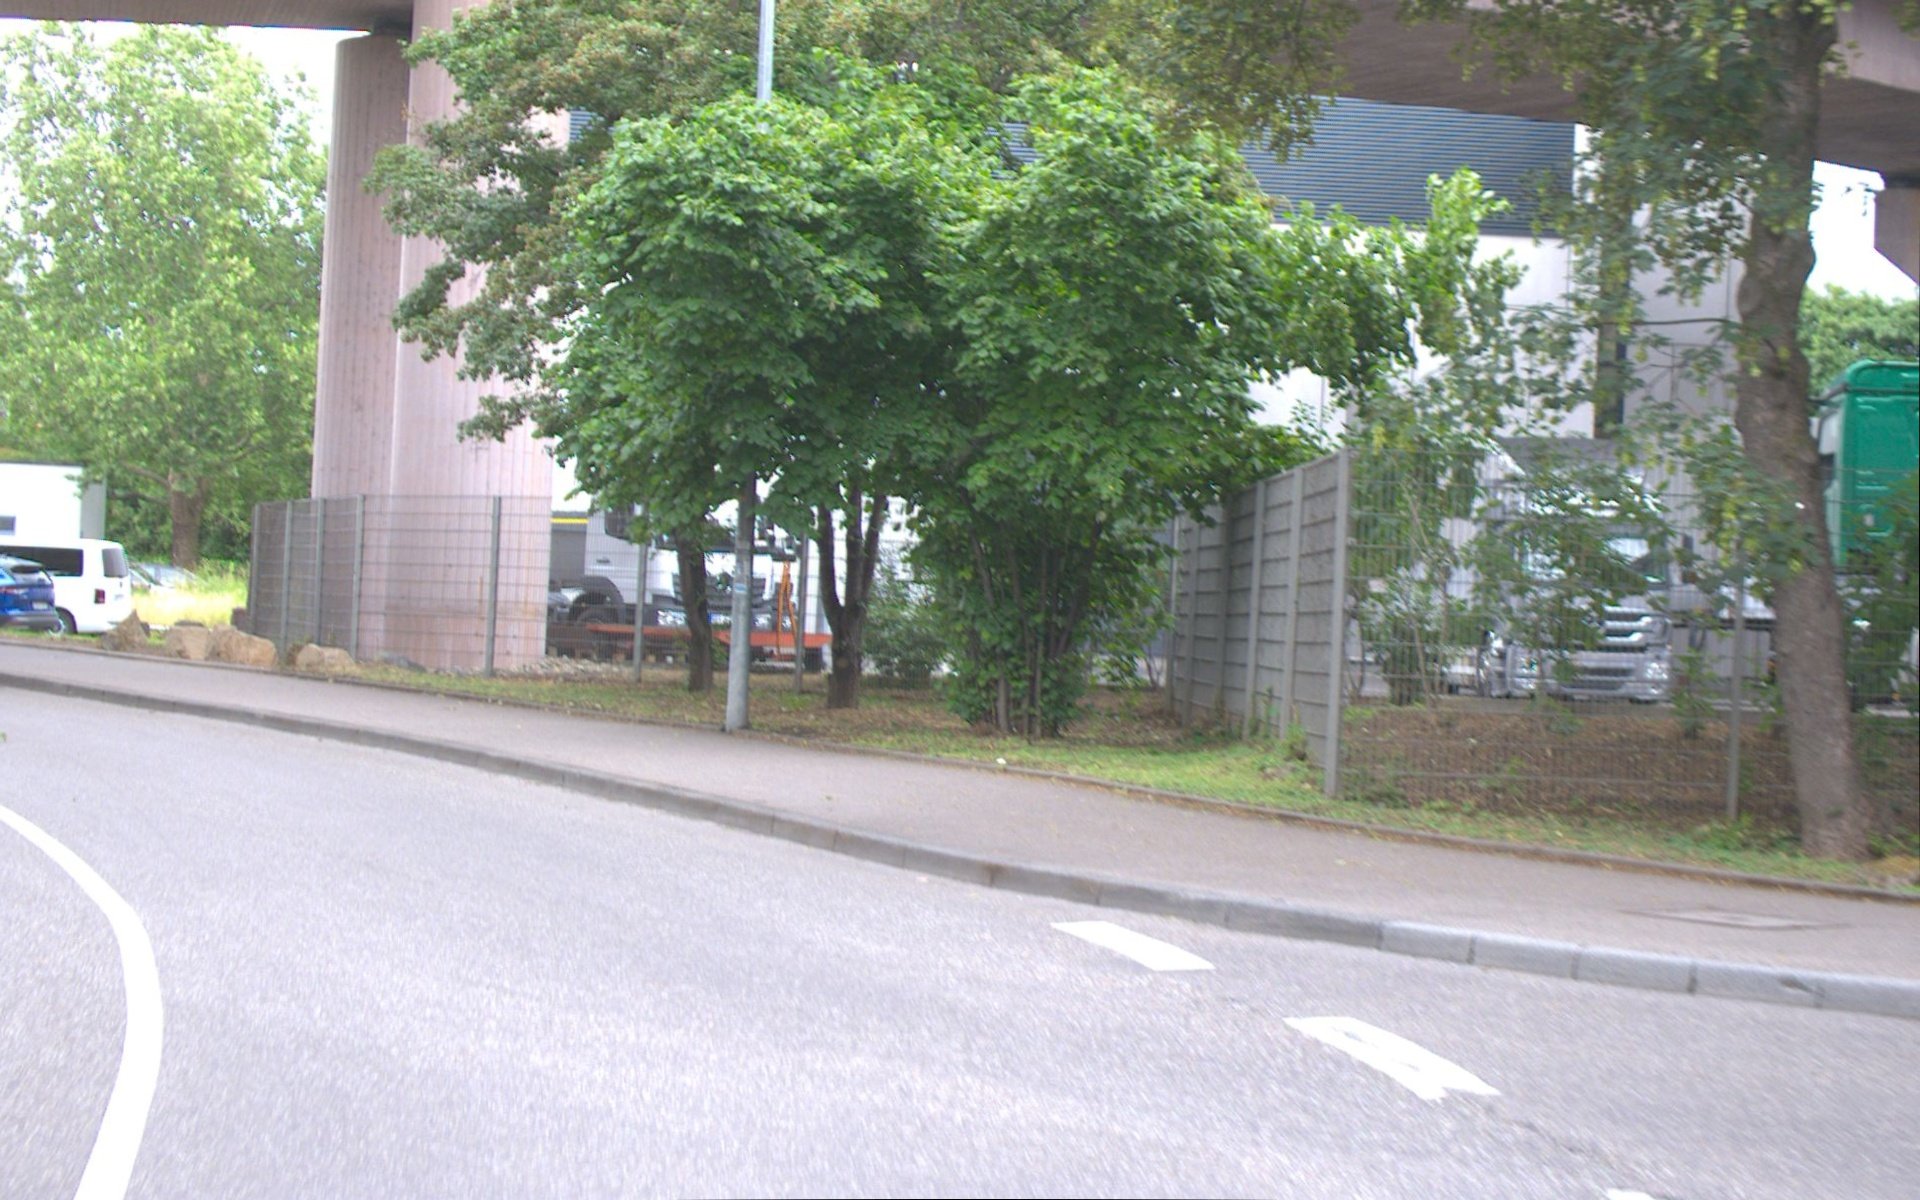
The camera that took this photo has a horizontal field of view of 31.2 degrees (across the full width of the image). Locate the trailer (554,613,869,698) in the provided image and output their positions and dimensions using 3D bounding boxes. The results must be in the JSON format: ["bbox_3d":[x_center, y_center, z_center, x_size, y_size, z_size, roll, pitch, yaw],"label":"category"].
[{"bbox_3d":[-3.145,0.634,41.902,2.148,0.740,6.296,-1,2,-20],"label":"trailer"}]

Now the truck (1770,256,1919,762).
[{"bbox_3d":[9.049,-0.728,28.361,3.065,3.949,6.923,1,1,0],"label":"truck"}]

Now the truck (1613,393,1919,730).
[{"bbox_3d":[12.286,-0.640,53.158,3.203,4.764,8.047,1,1,3],"label":"truck"}]

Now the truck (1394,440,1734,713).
[{"bbox_3d":[8.687,-0.429,50.531,3.055,3.607,7.917,2,2,-3],"label":"truck"}]

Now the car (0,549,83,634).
[{"bbox_3d":[-17.908,-0.166,60.373,4.448,1.437,1.998,1,-1,18],"label":"car"}]

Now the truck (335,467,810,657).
[{"bbox_3d":[-5.710,-0.568,49.726,7.225,2.543,2.718,2,0,43],"label":"truck"}]

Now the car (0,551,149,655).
[{"bbox_3d":[-17.378,0.045,63.252,4.316,1.851,1.999,1,-1,7],"label":"car"}]
